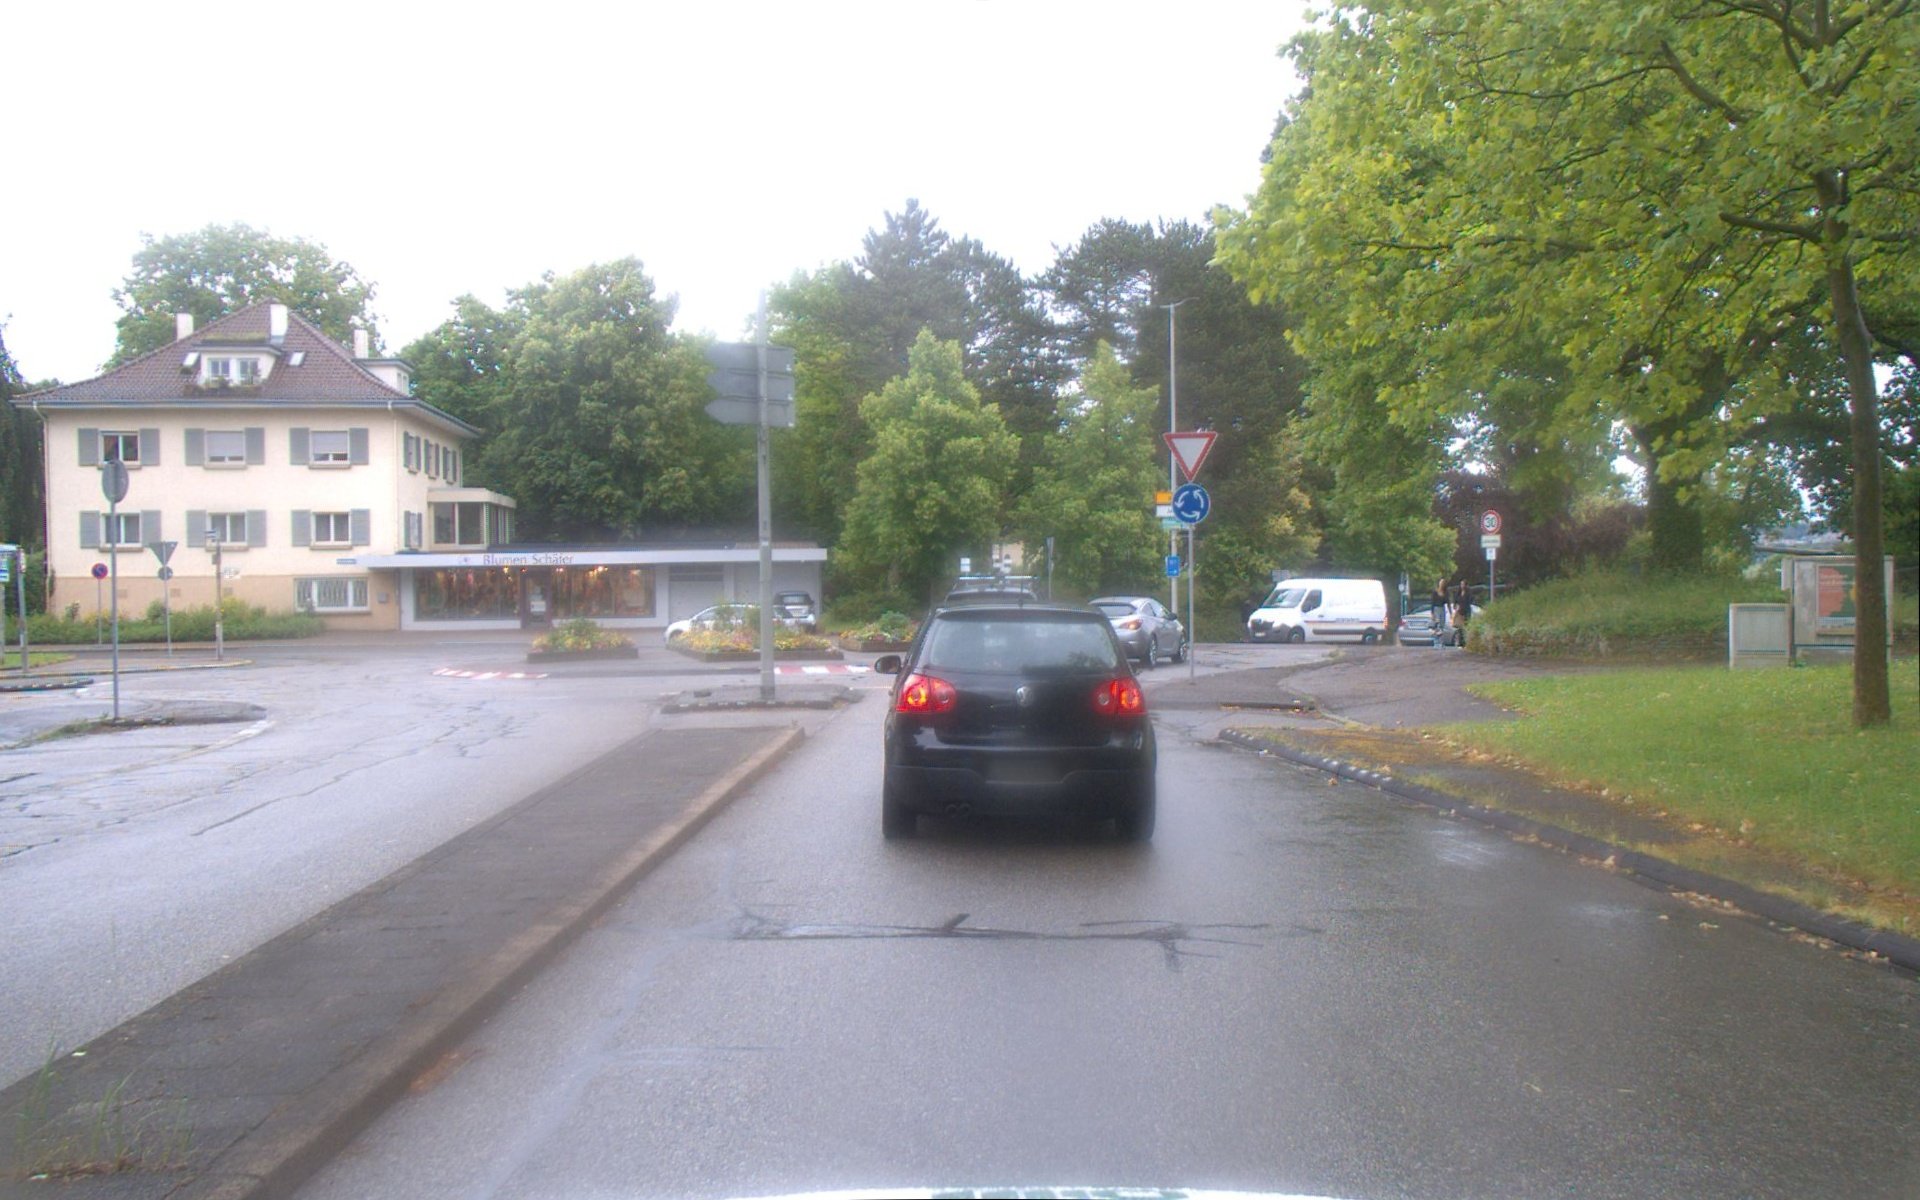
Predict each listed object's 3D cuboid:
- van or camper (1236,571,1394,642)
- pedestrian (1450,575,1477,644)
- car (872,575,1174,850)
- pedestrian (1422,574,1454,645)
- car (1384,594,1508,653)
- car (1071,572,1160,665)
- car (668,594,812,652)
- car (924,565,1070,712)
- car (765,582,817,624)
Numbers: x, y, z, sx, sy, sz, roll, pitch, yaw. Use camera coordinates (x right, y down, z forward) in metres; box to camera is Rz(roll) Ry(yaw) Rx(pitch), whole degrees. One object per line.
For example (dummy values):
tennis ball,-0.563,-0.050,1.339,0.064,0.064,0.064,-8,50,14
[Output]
van or camper,12.634,0.263,58.728,5.594,2.420,2.177,1,-1,-32
pedestrian,12.714,0.237,41.738,0.620,1.743,0.530,0,-1,15
car,0.508,0.648,11.558,1.727,1.565,4.002,1,0,4
pedestrian,11.902,0.234,41.213,0.519,1.743,0.633,1,-1,-16
car,14.691,0.708,49.896,1.967,1.713,4.004,0,-1,45
car,3.314,0.386,35.821,1.728,1.833,4.248,-2,0,3
car,-6.936,0.707,52.114,4.047,1.772,1.999,0,-1,24
car,0.432,0.505,23.446,1.729,1.833,4.244,-2,0,-3
car,-6.471,0.106,62.938,1.778,1.512,3.824,-2,0,-8
